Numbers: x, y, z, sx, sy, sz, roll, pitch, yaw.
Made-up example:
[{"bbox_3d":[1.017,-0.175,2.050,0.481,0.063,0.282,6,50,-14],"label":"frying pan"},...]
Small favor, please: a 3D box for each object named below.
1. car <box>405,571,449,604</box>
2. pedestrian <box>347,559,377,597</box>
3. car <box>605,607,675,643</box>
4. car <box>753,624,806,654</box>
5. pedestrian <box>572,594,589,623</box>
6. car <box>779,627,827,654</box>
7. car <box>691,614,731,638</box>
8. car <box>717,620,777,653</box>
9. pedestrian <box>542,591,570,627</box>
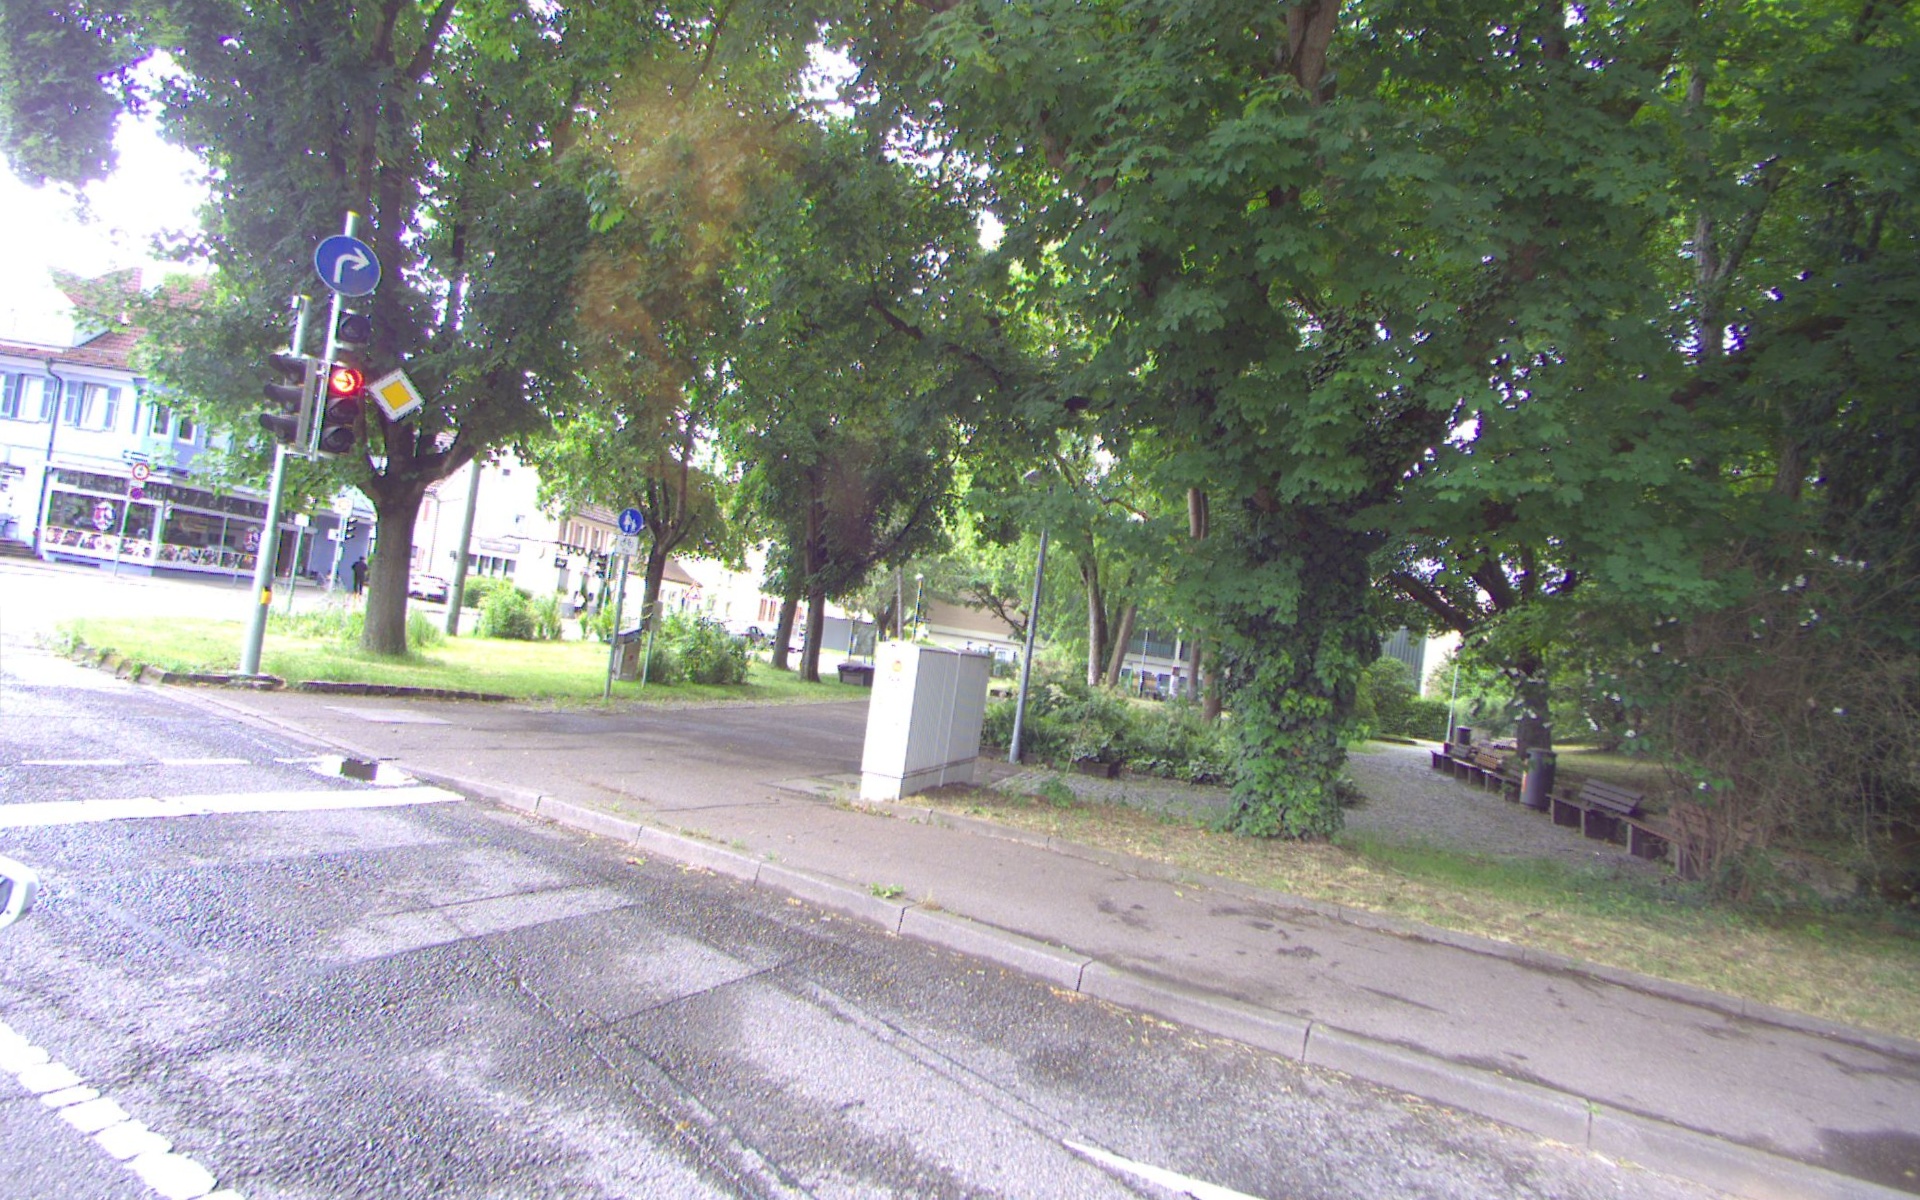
[{"bbox_3d":[-28.170,-0.687,53.159,1.870,1.406,3.589,9,-2,-28],"label":"car"},{"bbox_3d":[-27.092,-1.002,45.596,0.732,1.578,0.673,6,-1,17],"label":"pedestrian"},{"bbox_3d":[-13.989,1.108,44.139,1.436,1.282,3.014,7,-2,13],"label":"car"},{"bbox_3d":[-10.694,2.339,59.905,1.618,1.474,3.740,7,-2,13],"label":"car"},{"bbox_3d":[-21.634,0.485,57.328,0.500,1.578,0.505,6,-1,17],"label":"pedestrian"},{"bbox_3d":[-10.268,2.656,66.036,1.618,1.474,3.740,7,-2,13],"label":"car"},{"bbox_3d":[-18.338,1.935,74.188,1.736,1.463,3.865,7,-2,2],"label":"car"},{"bbox_3d":[-11.558,2.016,54.931,1.618,1.474,3.740,7,-2,13],"label":"car"},{"bbox_3d":[-12.993,0.294,32.348,0.506,1.093,0.507,6,-1,17],"label":"pedestrian"}]
